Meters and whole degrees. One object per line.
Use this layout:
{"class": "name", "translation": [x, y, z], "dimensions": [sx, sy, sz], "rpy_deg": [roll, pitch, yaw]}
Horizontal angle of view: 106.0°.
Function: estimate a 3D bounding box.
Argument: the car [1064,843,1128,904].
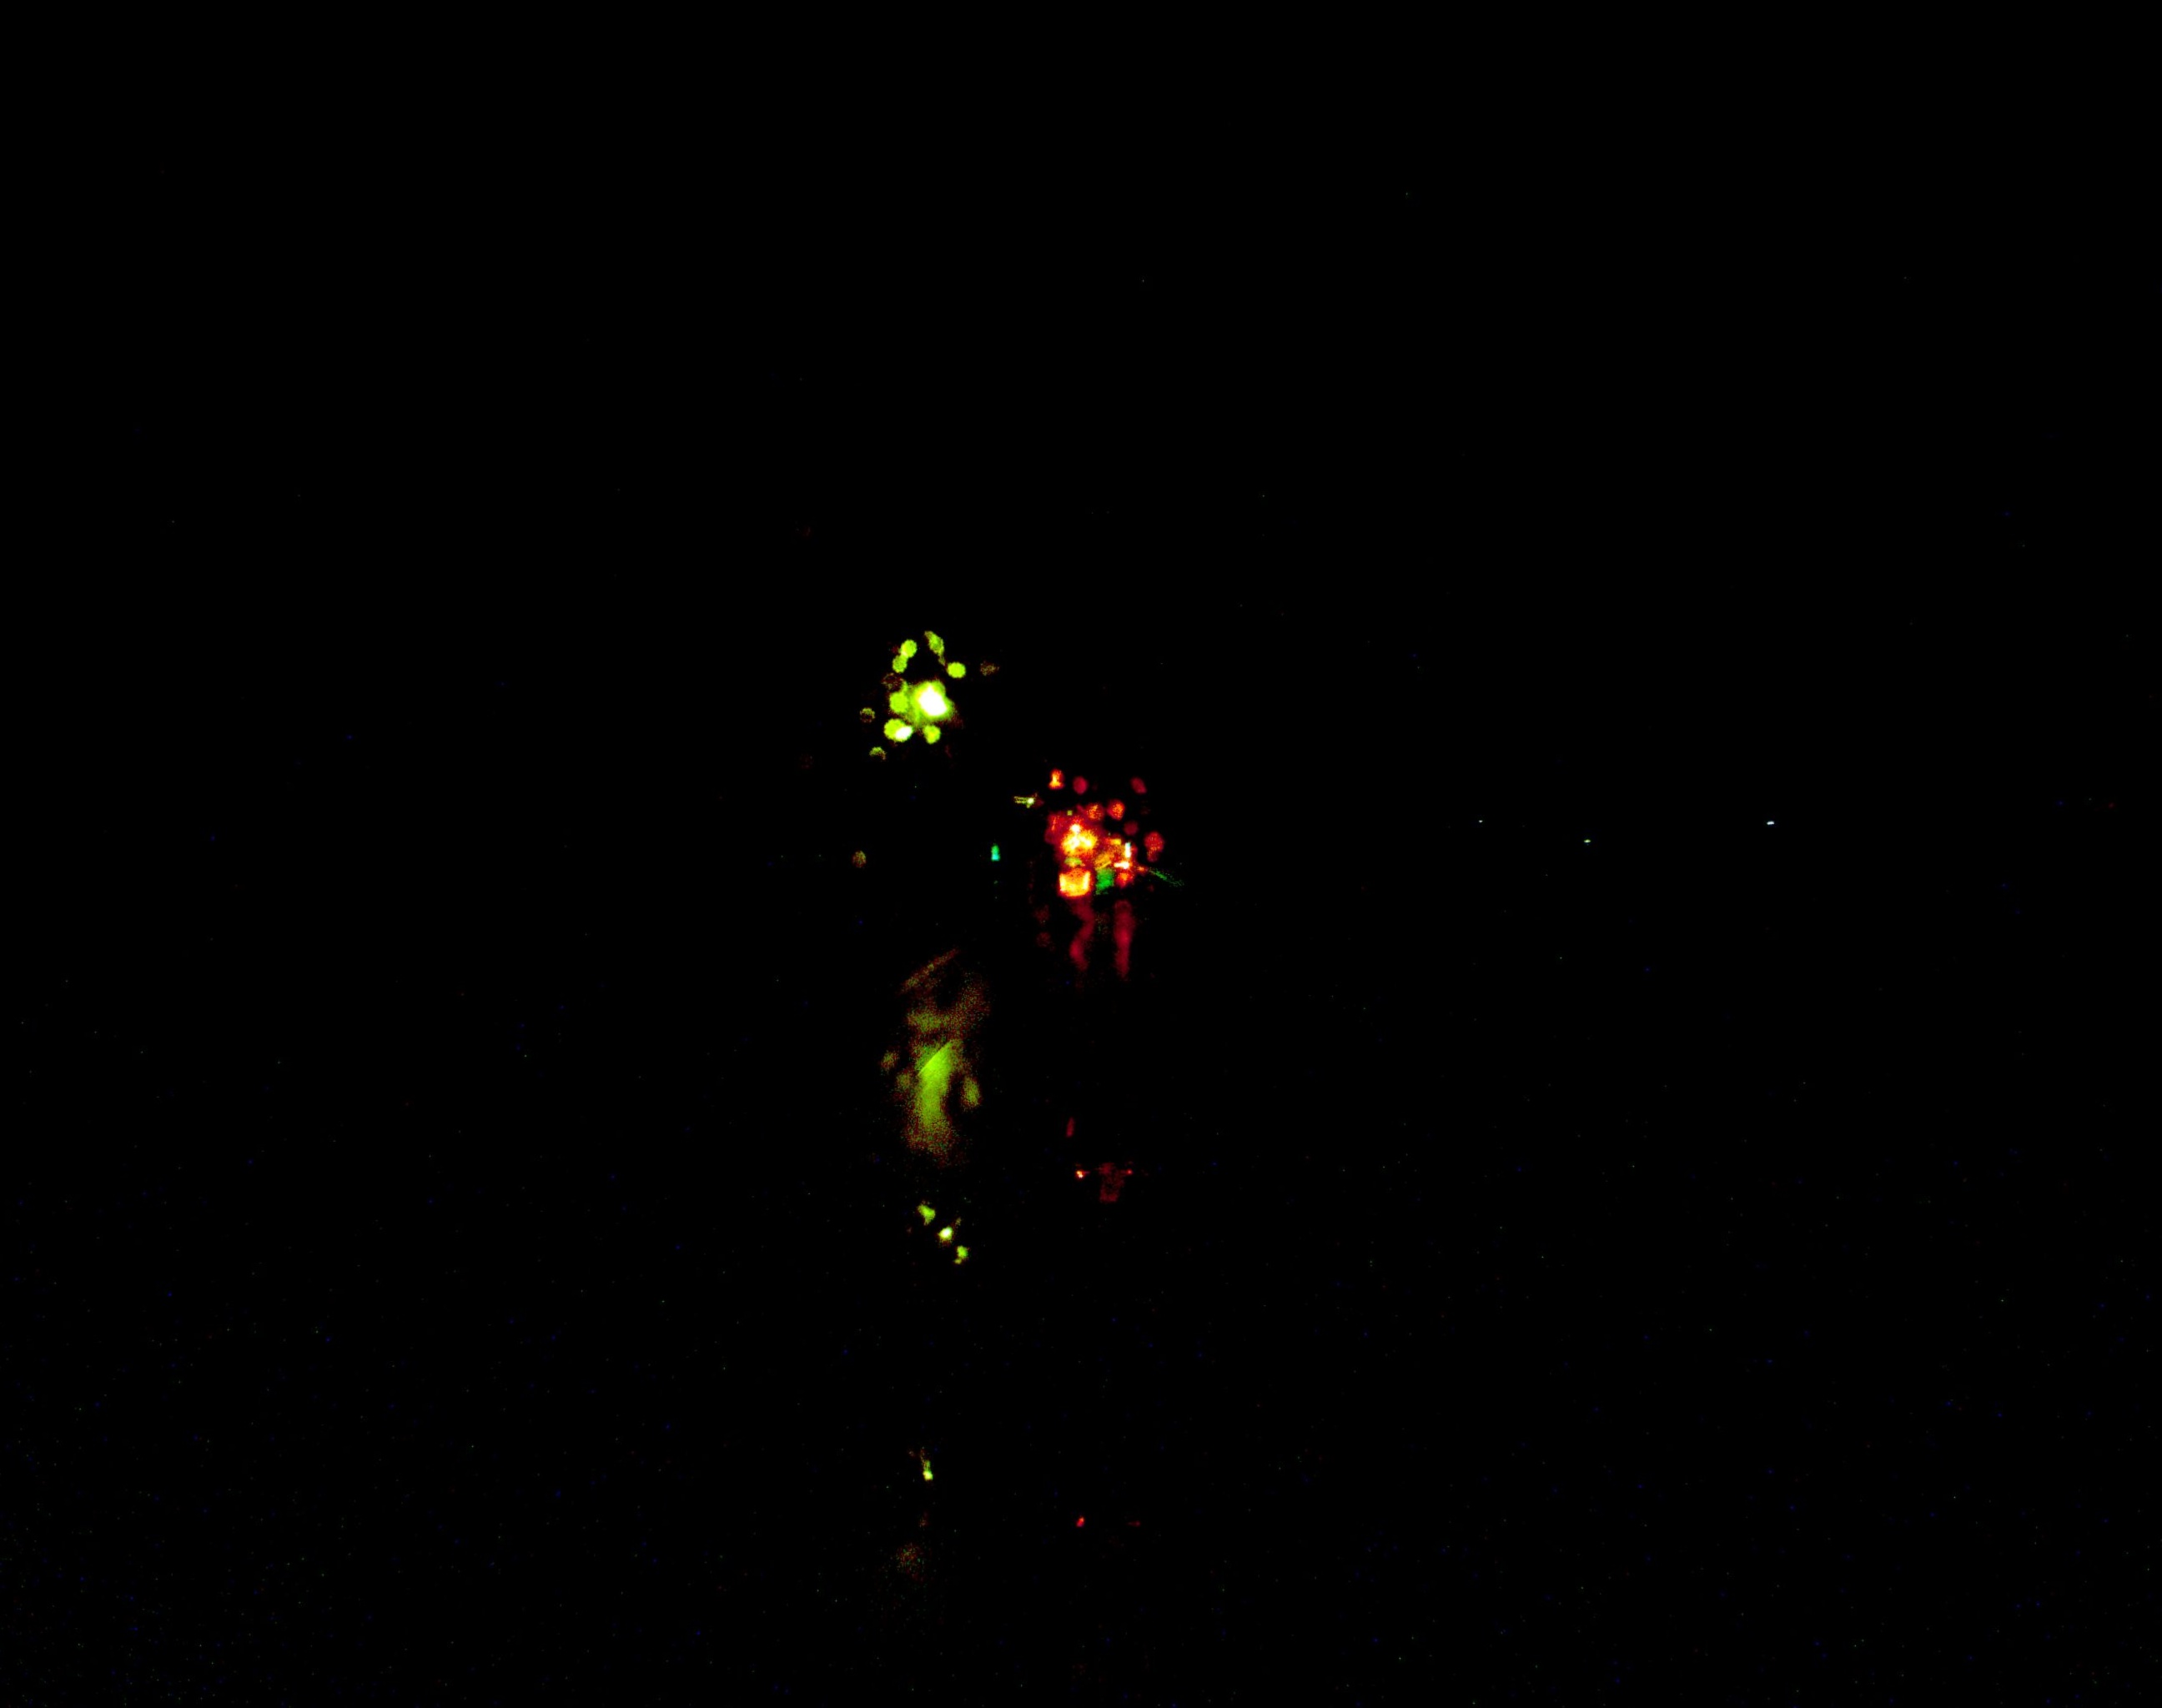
{"class": "car", "translation": [0.486, 0.527, 24.998], "dimensions": [1.784, 1.681, 3.906], "rpy_deg": [-1, 1, 2]}
